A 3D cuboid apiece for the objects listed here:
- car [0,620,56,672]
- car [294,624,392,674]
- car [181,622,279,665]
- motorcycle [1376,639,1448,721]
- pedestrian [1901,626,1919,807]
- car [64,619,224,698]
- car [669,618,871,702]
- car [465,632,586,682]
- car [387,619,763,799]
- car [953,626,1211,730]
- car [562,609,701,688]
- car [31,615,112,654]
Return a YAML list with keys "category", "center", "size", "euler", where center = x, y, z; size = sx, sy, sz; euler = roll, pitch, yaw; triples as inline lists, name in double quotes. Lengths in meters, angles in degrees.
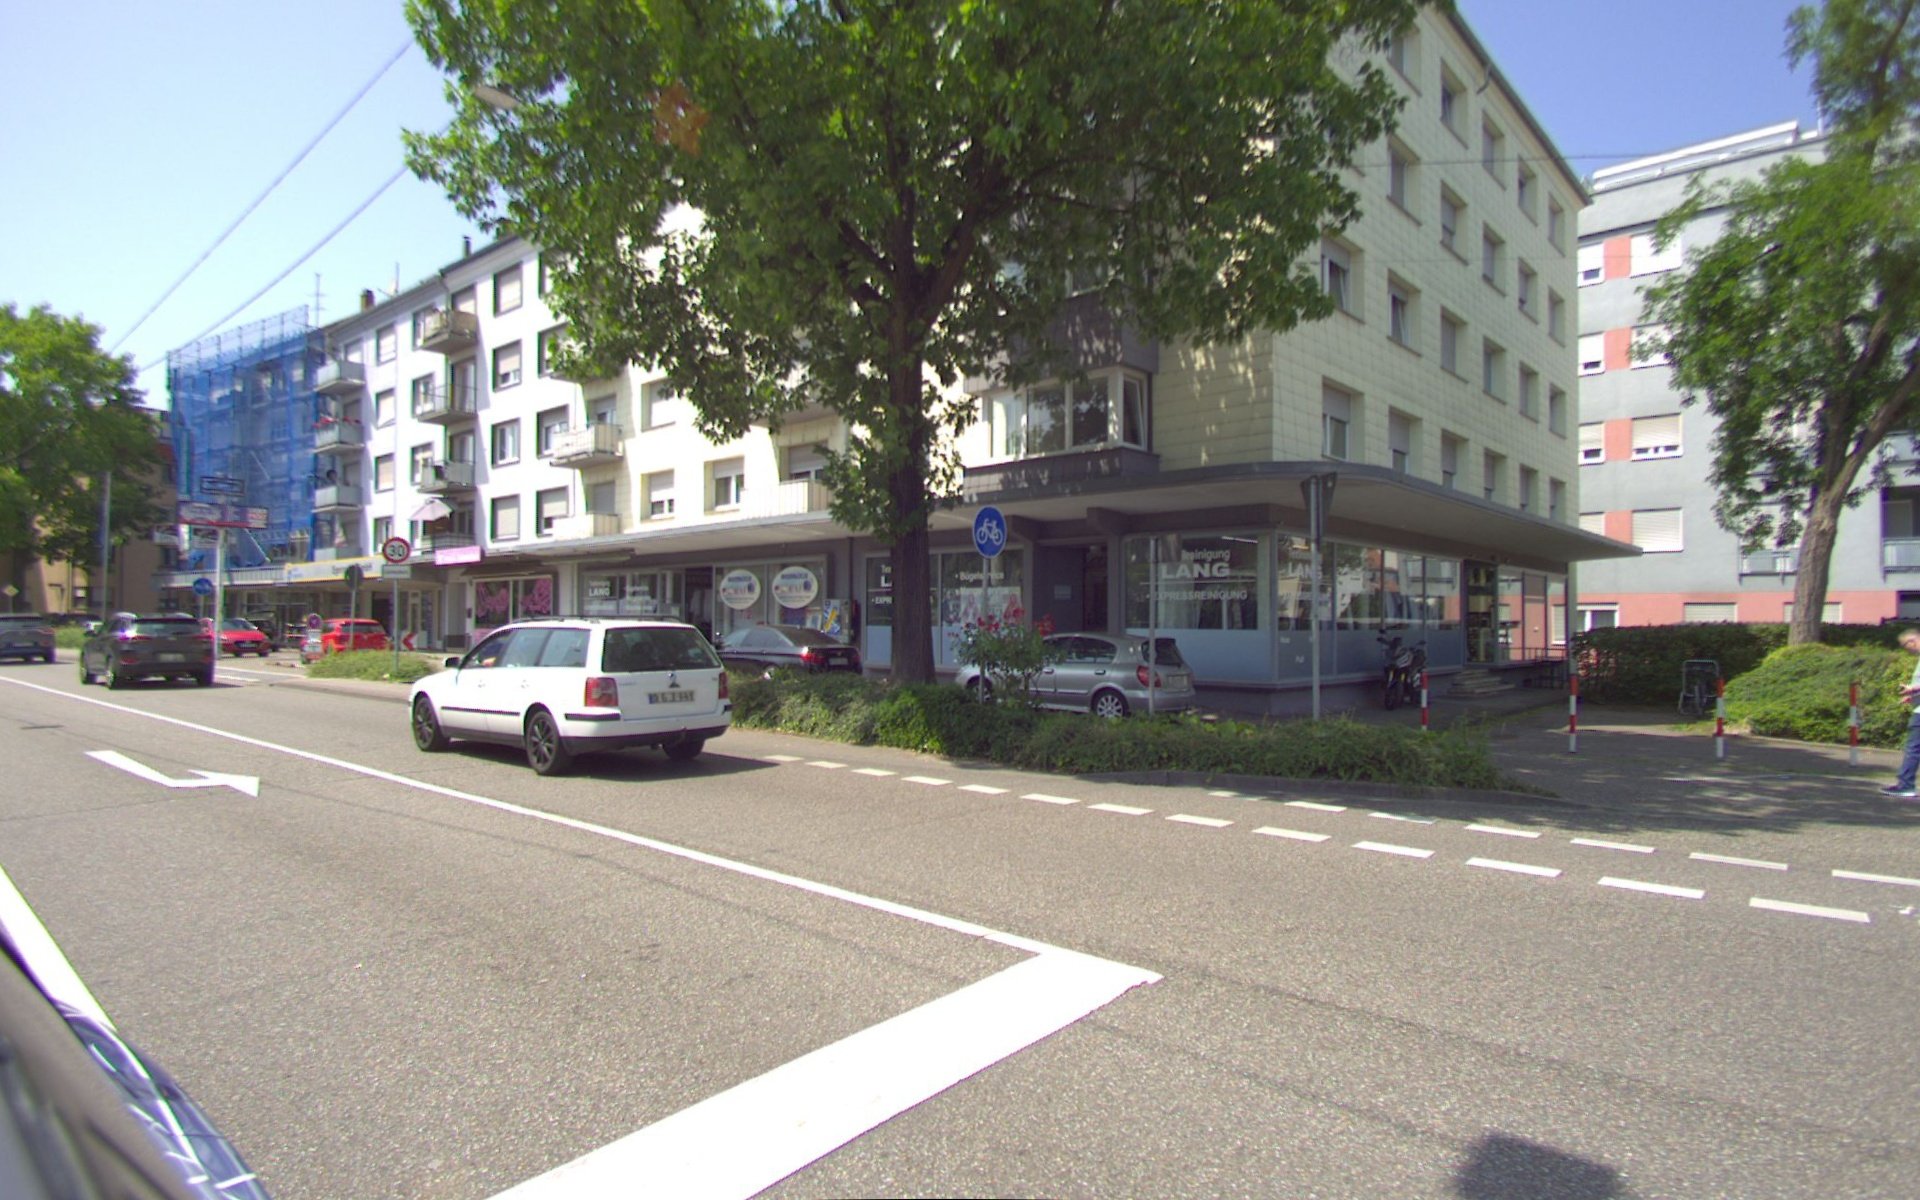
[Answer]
- category: "car"
  center: [-31.138, 1.469, 32.983]
  size: [3.997, 1.619, 1.904]
  euler: [-1, -2, 40]
- category: "car"
  center: [-19.304, 1.500, 31.608]
  size: [3.633, 1.479, 1.617]
  euler: [-1, -2, 42]
- category: "car"
  center: [-27.569, 1.605, 38.190]
  size: [4.328, 1.531, 1.889]
  euler: [-1, -3, 39]
- category: "motorcycle"
  center: [8.674, 1.489, 19.376]
  size: [0.714, 1.431, 1.894]
  euler: [1, 0, 42]
- category: "pedestrian"
  center: [9.804, 1.152, 9.966]
  size: [0.742, 1.773, 0.620]
  euler: [1, -1, 41]
- category: "car"
  center: [-18.748, 1.290, 23.197]
  size: [4.221, 1.651, 1.960]
  euler: [-2, -3, 39]
- category: "car"
  center: [-4.133, 1.193, 21.480]
  size: [4.837, 1.581, 1.605]
  euler: [-1, -2, 42]
- category: "car"
  center: [-12.551, 1.585, 29.150]
  size: [3.859, 1.296, 1.682]
  euler: [-1, -1, 41]
- category: "car"
  center: [-4.269, 0.976, 10.832]
  size: [4.628, 1.530, 1.796]
  euler: [-1, -2, 41]
- category: "car"
  center: [1.876, 1.159, 16.271]
  size: [3.938, 1.470, 1.566]
  euler: [-1, -2, 41]
- category: "car"
  center: [-8.357, 1.188, 25.595]
  size: [3.858, 1.853, 1.622]
  euler: [-2, -2, 41]
- category: "car"
  center: [-43.562, 1.673, 49.592]
  size: [4.321, 1.819, 1.892]
  euler: [-1, -2, 33]
